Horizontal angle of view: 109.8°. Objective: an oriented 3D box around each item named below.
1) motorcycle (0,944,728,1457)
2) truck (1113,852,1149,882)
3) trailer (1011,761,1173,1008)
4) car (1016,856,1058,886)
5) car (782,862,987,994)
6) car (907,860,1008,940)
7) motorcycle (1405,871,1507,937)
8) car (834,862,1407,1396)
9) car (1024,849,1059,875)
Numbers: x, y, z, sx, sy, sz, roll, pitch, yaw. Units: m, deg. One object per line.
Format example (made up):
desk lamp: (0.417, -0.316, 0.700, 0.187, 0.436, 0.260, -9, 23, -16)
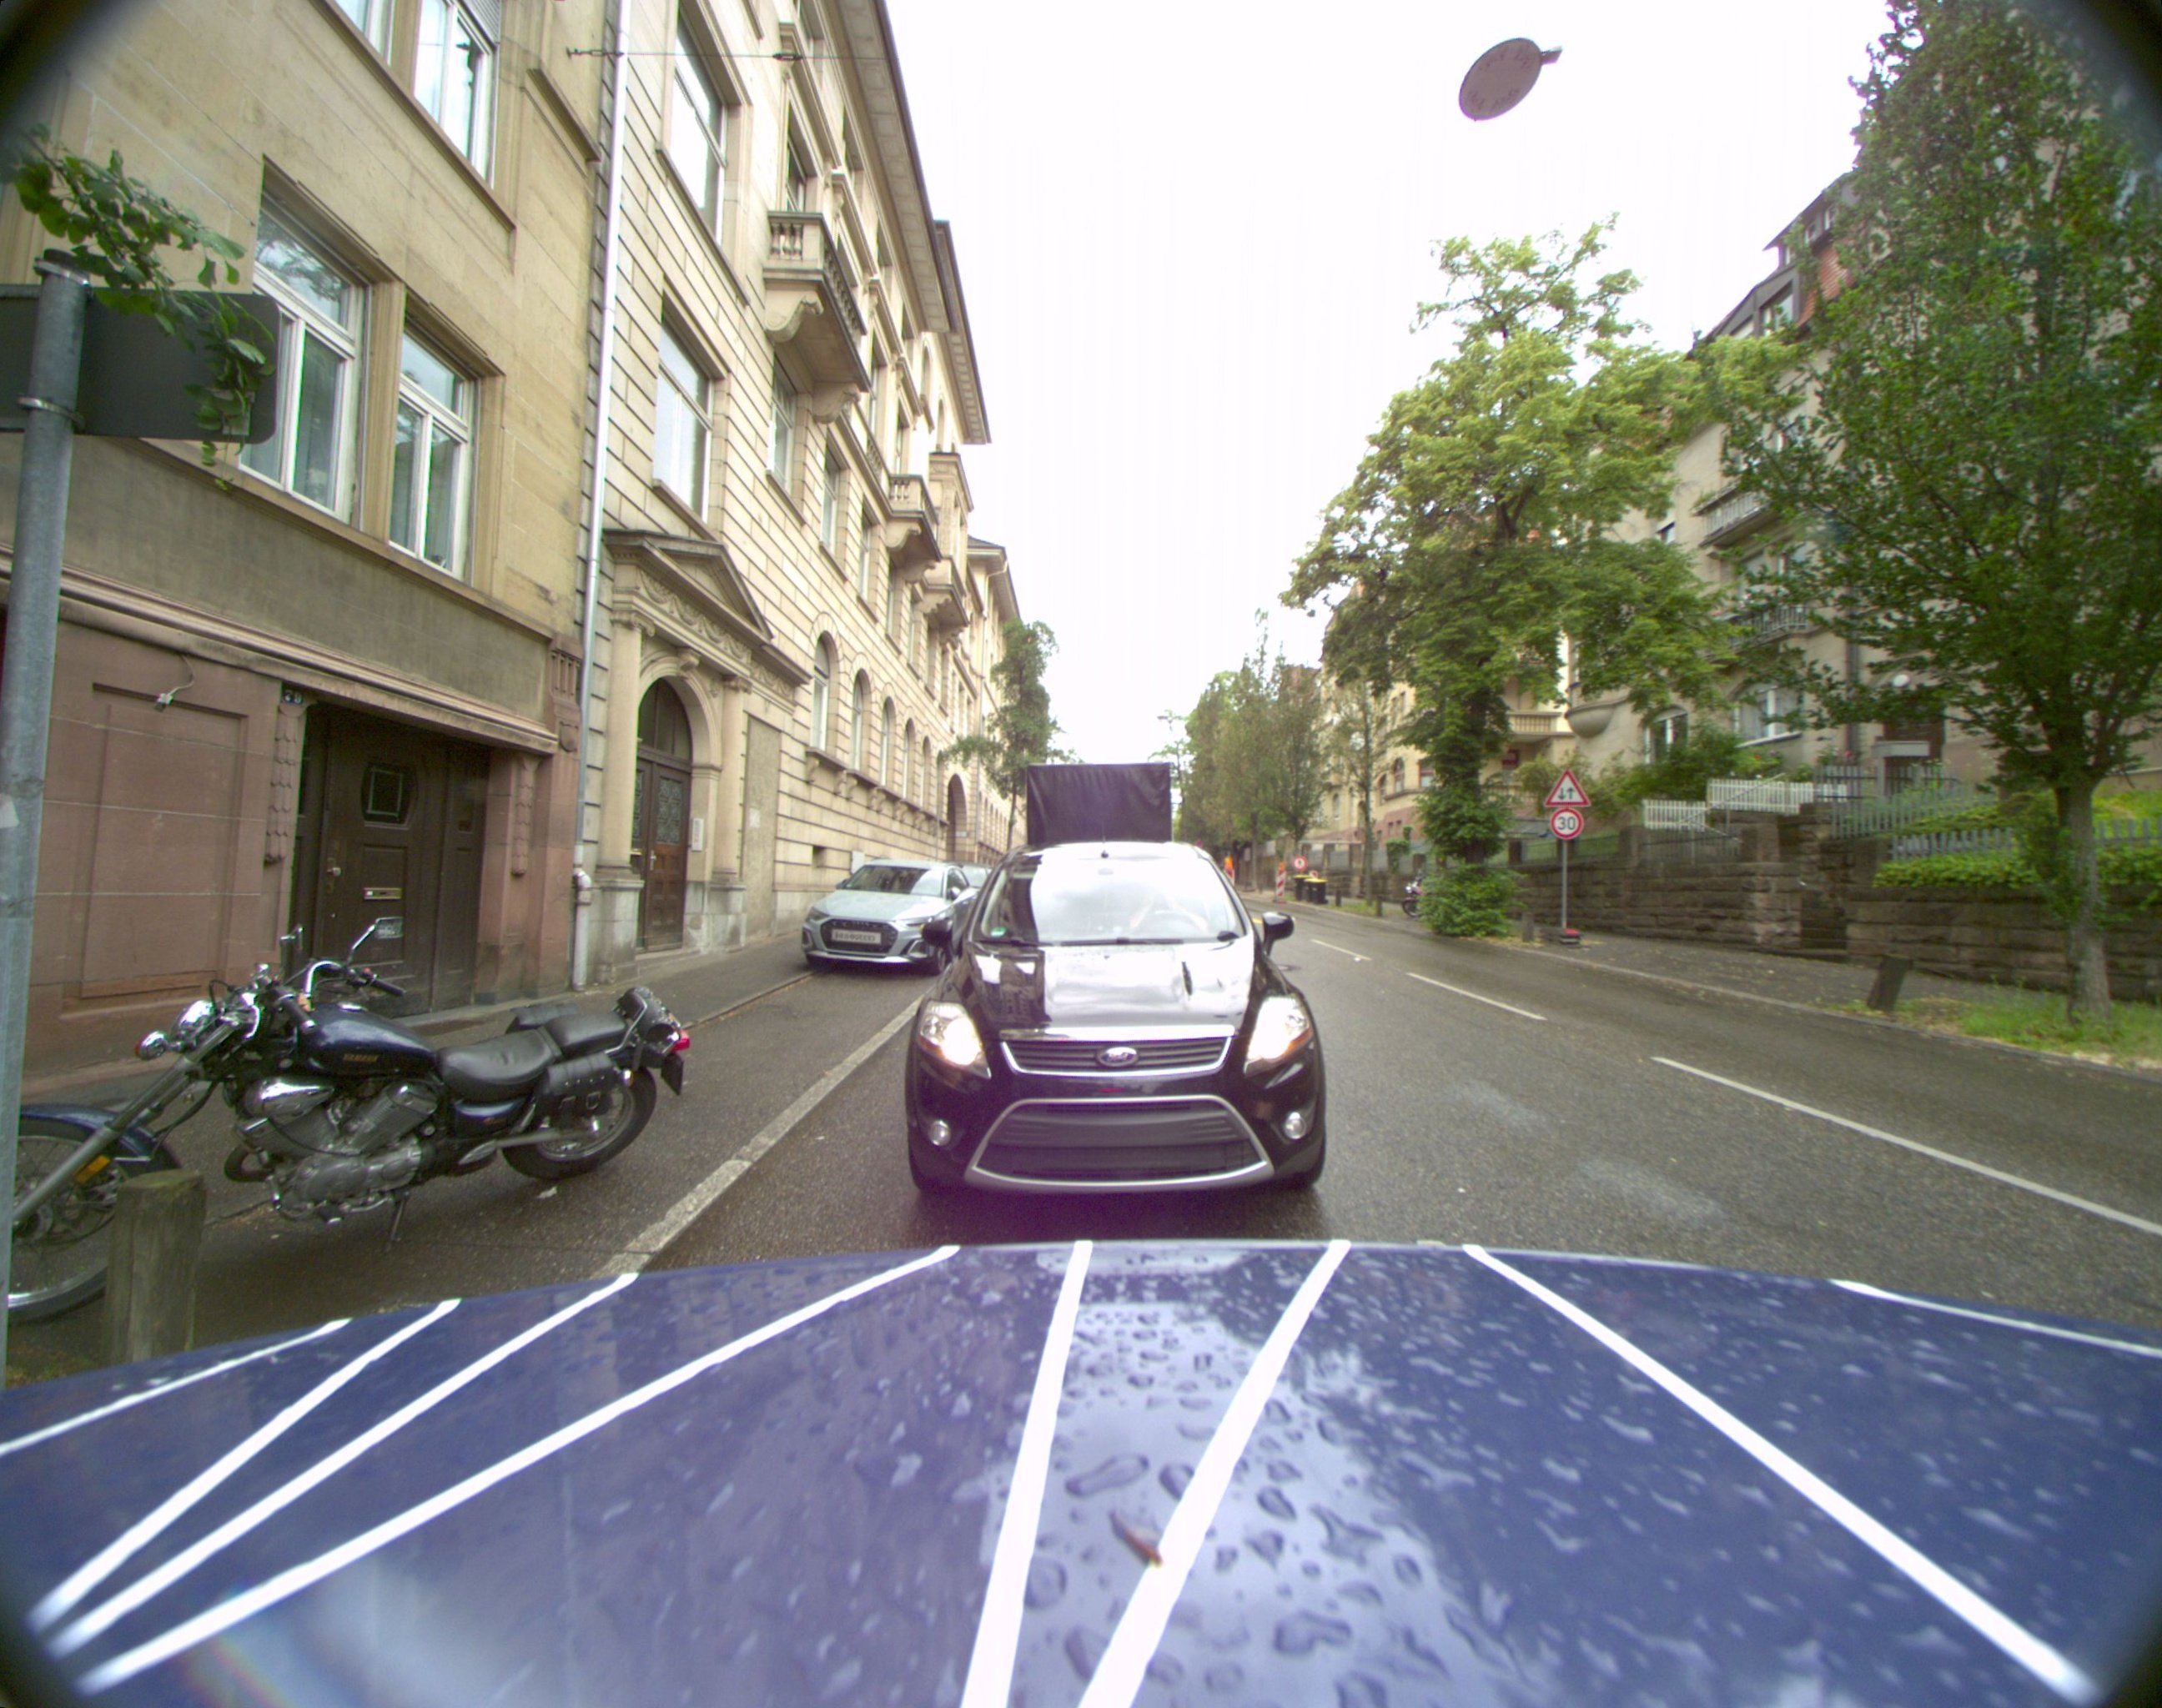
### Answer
motorcycle: (-2.577, 1.017, 2.759, 0.523, 1.236, 2.282, 3, -1, 39)
truck: (3.267, 0.852, 50.508, 2.075, 1.825, 5.154, 2, 0, 1)
trailer: (0.122, 0.324, 10.854, 1.783, 2.744, 4.816, 0, 1, 0)
car: (-2.401, 0.909, 42.465, 1.910, 1.502, 4.318, 3, 0, 1)
car: (-2.606, 0.906, 11.114, 1.794, 1.444, 4.039, 3, 0, 1)
car: (-2.552, 0.906, 16.337, 1.495, 1.440, 3.181, 3, 0, 1)
motorcycle: (8.891, 1.130, 18.204, 0.802, 1.406, 3.061, -2, 0, -2)
car: (0.180, 0.900, 4.686, 1.823, 1.662, 4.522, 0, 0, 1)
car: (-2.581, 0.521, 50.397, 1.910, 1.502, 4.318, 3, 0, 1)
